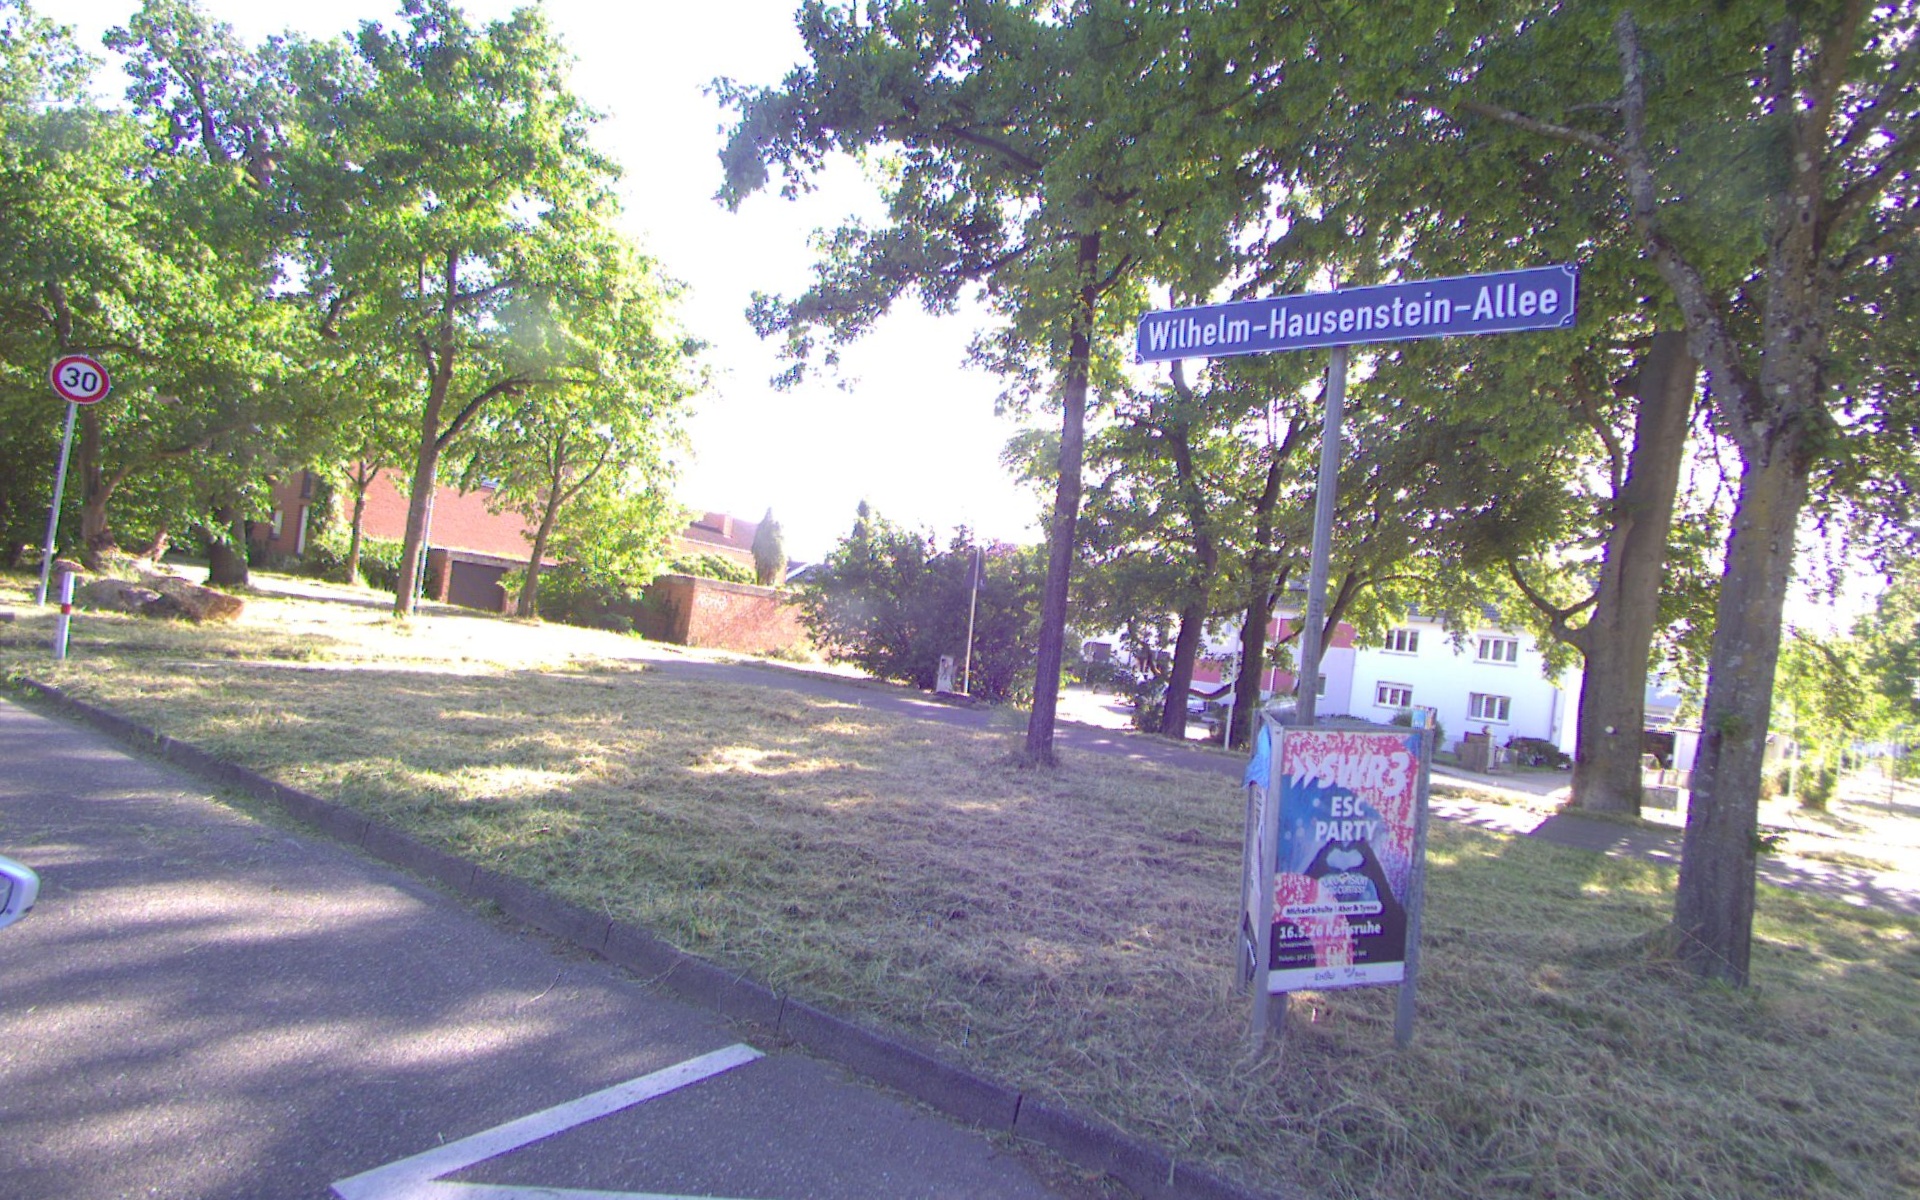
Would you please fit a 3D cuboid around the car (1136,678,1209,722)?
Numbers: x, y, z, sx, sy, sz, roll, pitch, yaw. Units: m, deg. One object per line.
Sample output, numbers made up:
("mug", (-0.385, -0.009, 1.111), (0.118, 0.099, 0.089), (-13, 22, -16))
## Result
("car", (10.097, 4.743, 47.958), (1.514, 1.569, 3.160), (9, -2, -30))
